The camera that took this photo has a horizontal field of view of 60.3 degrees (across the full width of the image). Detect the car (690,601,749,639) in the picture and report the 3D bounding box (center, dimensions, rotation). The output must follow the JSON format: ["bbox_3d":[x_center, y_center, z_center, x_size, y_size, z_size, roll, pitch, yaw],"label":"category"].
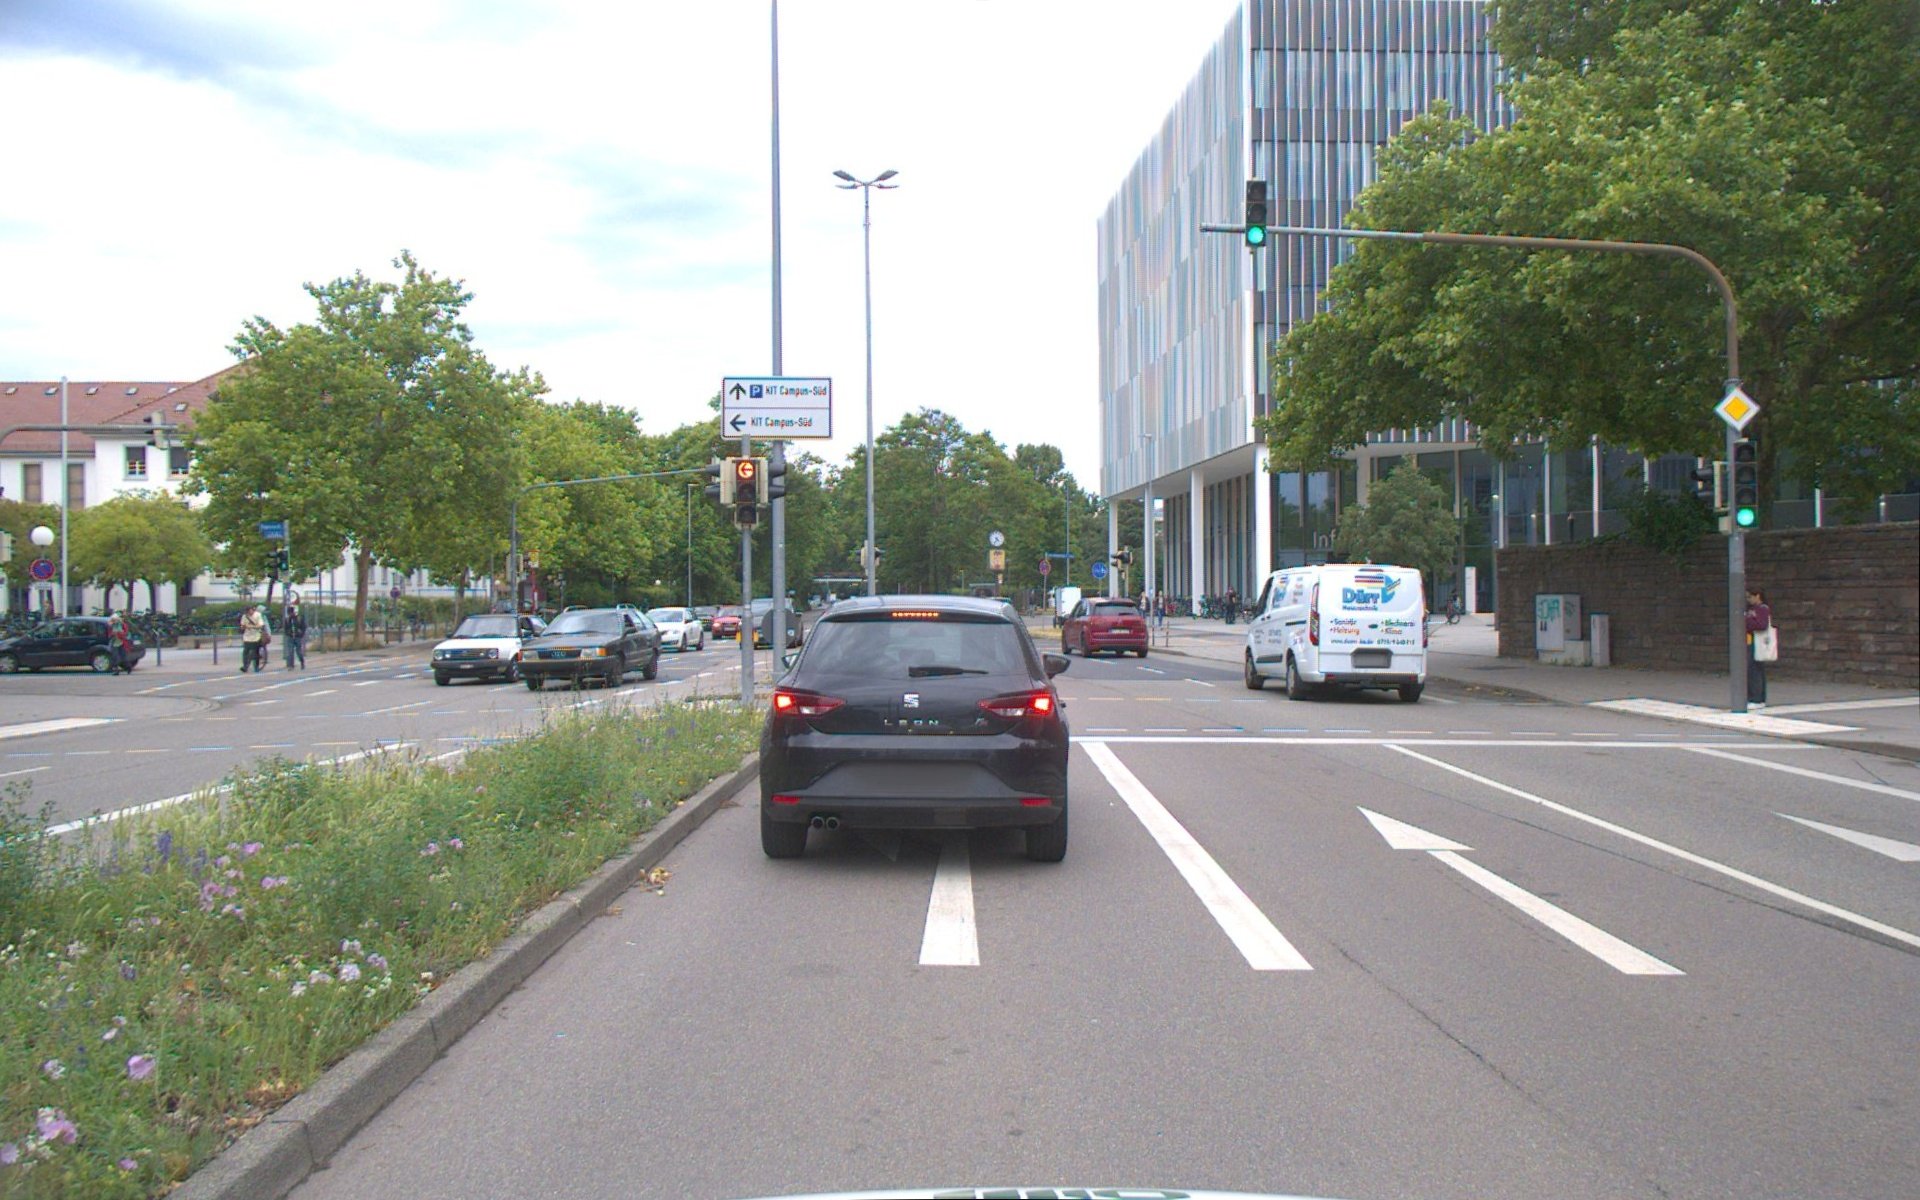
[{"bbox_3d":[-10.095,0.823,69.751,1.678,1.443,4.295,-2,0,2],"label":"car"}]

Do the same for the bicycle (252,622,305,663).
[{"bbox_3d":[-18.687,1.159,45.336,1.589,1.081,0.665,0,-1,39],"label":"bicycle"}]

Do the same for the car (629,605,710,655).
[{"bbox_3d":[-9.510,0.967,54.390,1.669,1.456,4.229,-2,1,3],"label":"car"}]

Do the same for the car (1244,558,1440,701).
[{"bbox_3d":[5.818,0.412,25.743,1.926,2.007,4.343,1,0,-1],"label":"car"}]

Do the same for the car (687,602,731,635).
[{"bbox_3d":[-14.503,1.047,95.635,1.868,1.747,4.000,-2,0,0],"label":"car"}]

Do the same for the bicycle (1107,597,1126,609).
[{"bbox_3d":[10.991,0.192,116.370,1.217,0.837,0.479,2,-1,-23],"label":"bicycle"}]

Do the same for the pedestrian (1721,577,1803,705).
[{"bbox_3d":[10.478,0.527,21.623,0.646,1.588,0.636,-5,0,-1],"label":"pedestrian"}]

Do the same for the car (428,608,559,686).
[{"bbox_3d":[-9.544,0.922,34.102,1.575,1.405,3.808,-2,1,0],"label":"car"}]

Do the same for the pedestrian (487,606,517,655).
[{"bbox_3d":[-15.366,1.012,55.487,0.858,1.614,0.543,-2,0,-7],"label":"pedestrian"}]

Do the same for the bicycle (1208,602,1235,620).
[{"bbox_3d":[13.523,0.583,85.510,1.421,0.872,0.361,-2,0,-27],"label":"bicycle"}]

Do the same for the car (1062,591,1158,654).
[{"bbox_3d":[4.124,0.598,46.066,1.912,1.652,3.743,1,1,-7],"label":"car"}]

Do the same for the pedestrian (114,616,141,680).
[{"bbox_3d":[-21.241,1.229,42.219,0.562,1.553,0.842,-1,-5,-24],"label":"pedestrian"}]

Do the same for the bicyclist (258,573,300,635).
[{"bbox_3d":[-18.674,0.108,45.357,0.943,1.664,0.665,0,-1,39],"label":"bicyclist"}]

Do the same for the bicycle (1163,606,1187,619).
[{"bbox_3d":[12.394,0.731,95.497,1.345,0.717,0.489,-2,0,8],"label":"bicycle"}]

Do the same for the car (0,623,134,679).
[{"bbox_3d":[-24.503,1.363,44.620,3.585,1.244,1.563,0,7,-7],"label":"car"}]

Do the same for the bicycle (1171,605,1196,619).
[{"bbox_3d":[12.660,0.698,93.701,1.346,0.717,0.416,-2,0,2],"label":"bicycle"}]

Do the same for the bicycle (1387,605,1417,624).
[{"bbox_3d":[18.771,0.627,70.179,1.515,0.728,0.511,-3,1,-44],"label":"bicycle"}]

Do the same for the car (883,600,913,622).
[{"bbox_3d":[-4.275,0.725,113.563,1.861,1.377,3.880,-2,1,-4],"label":"car"}]

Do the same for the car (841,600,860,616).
[{"bbox_3d":[-11.086,0.777,167.621,1.663,1.530,4.004,-2,1,-7],"label":"car"}]

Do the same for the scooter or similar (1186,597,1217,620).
[{"bbox_3d":[12.834,0.449,87.820,1.655,1.126,0.493,-2,0,-32],"label":"scooter or similar"}]

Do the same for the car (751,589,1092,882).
[{"bbox_3d":[-0.127,0.673,10.258,1.716,1.457,3.770,1,0,2],"label":"car"}]

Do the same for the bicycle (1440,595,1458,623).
[{"bbox_3d":[20.168,0.365,68.216,0.609,1.074,1.949,-2,1,19],"label":"bicycle"}]

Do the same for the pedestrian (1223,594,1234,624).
[{"bbox_3d":[12.718,0.436,78.229,0.462,1.385,0.446,-2,0,10],"label":"pedestrian"}]

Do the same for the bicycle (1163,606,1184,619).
[{"bbox_3d":[12.437,0.706,96.389,1.213,0.717,0.489,-2,0,8],"label":"bicycle"}]

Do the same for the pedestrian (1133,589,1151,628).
[{"bbox_3d":[7.726,0.356,70.377,0.673,1.668,0.633,1,0,-1],"label":"pedestrian"}]

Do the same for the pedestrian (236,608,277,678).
[{"bbox_3d":[-18.333,1.129,43.109,0.833,1.770,0.820,1,-5,-35],"label":"pedestrian"}]

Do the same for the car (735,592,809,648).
[{"bbox_3d":[-6.180,0.644,54.713,1.881,1.693,4.398,-2,0,0],"label":"car"}]

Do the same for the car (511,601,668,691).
[{"bbox_3d":[-6.886,0.822,31.248,1.727,1.486,4.792,-3,-1,1],"label":"car"}]

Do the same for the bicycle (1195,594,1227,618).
[{"bbox_3d":[13.237,0.320,87.244,1.757,1.232,0.563,-2,0,-34],"label":"bicycle"}]

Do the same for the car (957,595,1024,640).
[{"bbox_3d":[1.197,0.679,67.738,1.880,1.693,4.103,-2,0,-11],"label":"car"}]

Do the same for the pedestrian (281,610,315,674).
[{"bbox_3d":[-16.949,1.079,42.346,0.777,1.586,0.695,0,-3,-20],"label":"pedestrian"}]

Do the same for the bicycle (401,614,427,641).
[{"bbox_3d":[-22.741,1.133,68.935,0.596,1.079,2.041,-2,0,-6],"label":"bicycle"}]

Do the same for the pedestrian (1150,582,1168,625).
[{"bbox_3d":[8.464,0.142,70.488,0.673,1.812,0.677,0,0,-1],"label":"pedestrian"}]

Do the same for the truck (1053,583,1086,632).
[{"bbox_3d":[5.348,0.355,80.844,1.291,2.282,3.401,-2,0,0],"label":"truck"}]

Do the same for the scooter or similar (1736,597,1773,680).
[{"bbox_3d":[12.410,0.585,25.860,0.423,1.199,1.703,-3,0,24],"label":"scooter or similar"}]

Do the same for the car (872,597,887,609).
[{"bbox_3d":[-8.620,0.361,177.302,1.475,1.214,3.161,-2,1,-4],"label":"car"}]

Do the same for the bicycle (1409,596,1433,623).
[{"bbox_3d":[19.272,0.399,69.138,0.792,1.074,1.949,-2,1,19],"label":"bicycle"}]

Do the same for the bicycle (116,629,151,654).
[{"bbox_3d":[-32.287,1.627,64.639,1.190,0.896,0.262,-2,0,-24],"label":"bicycle"}]
